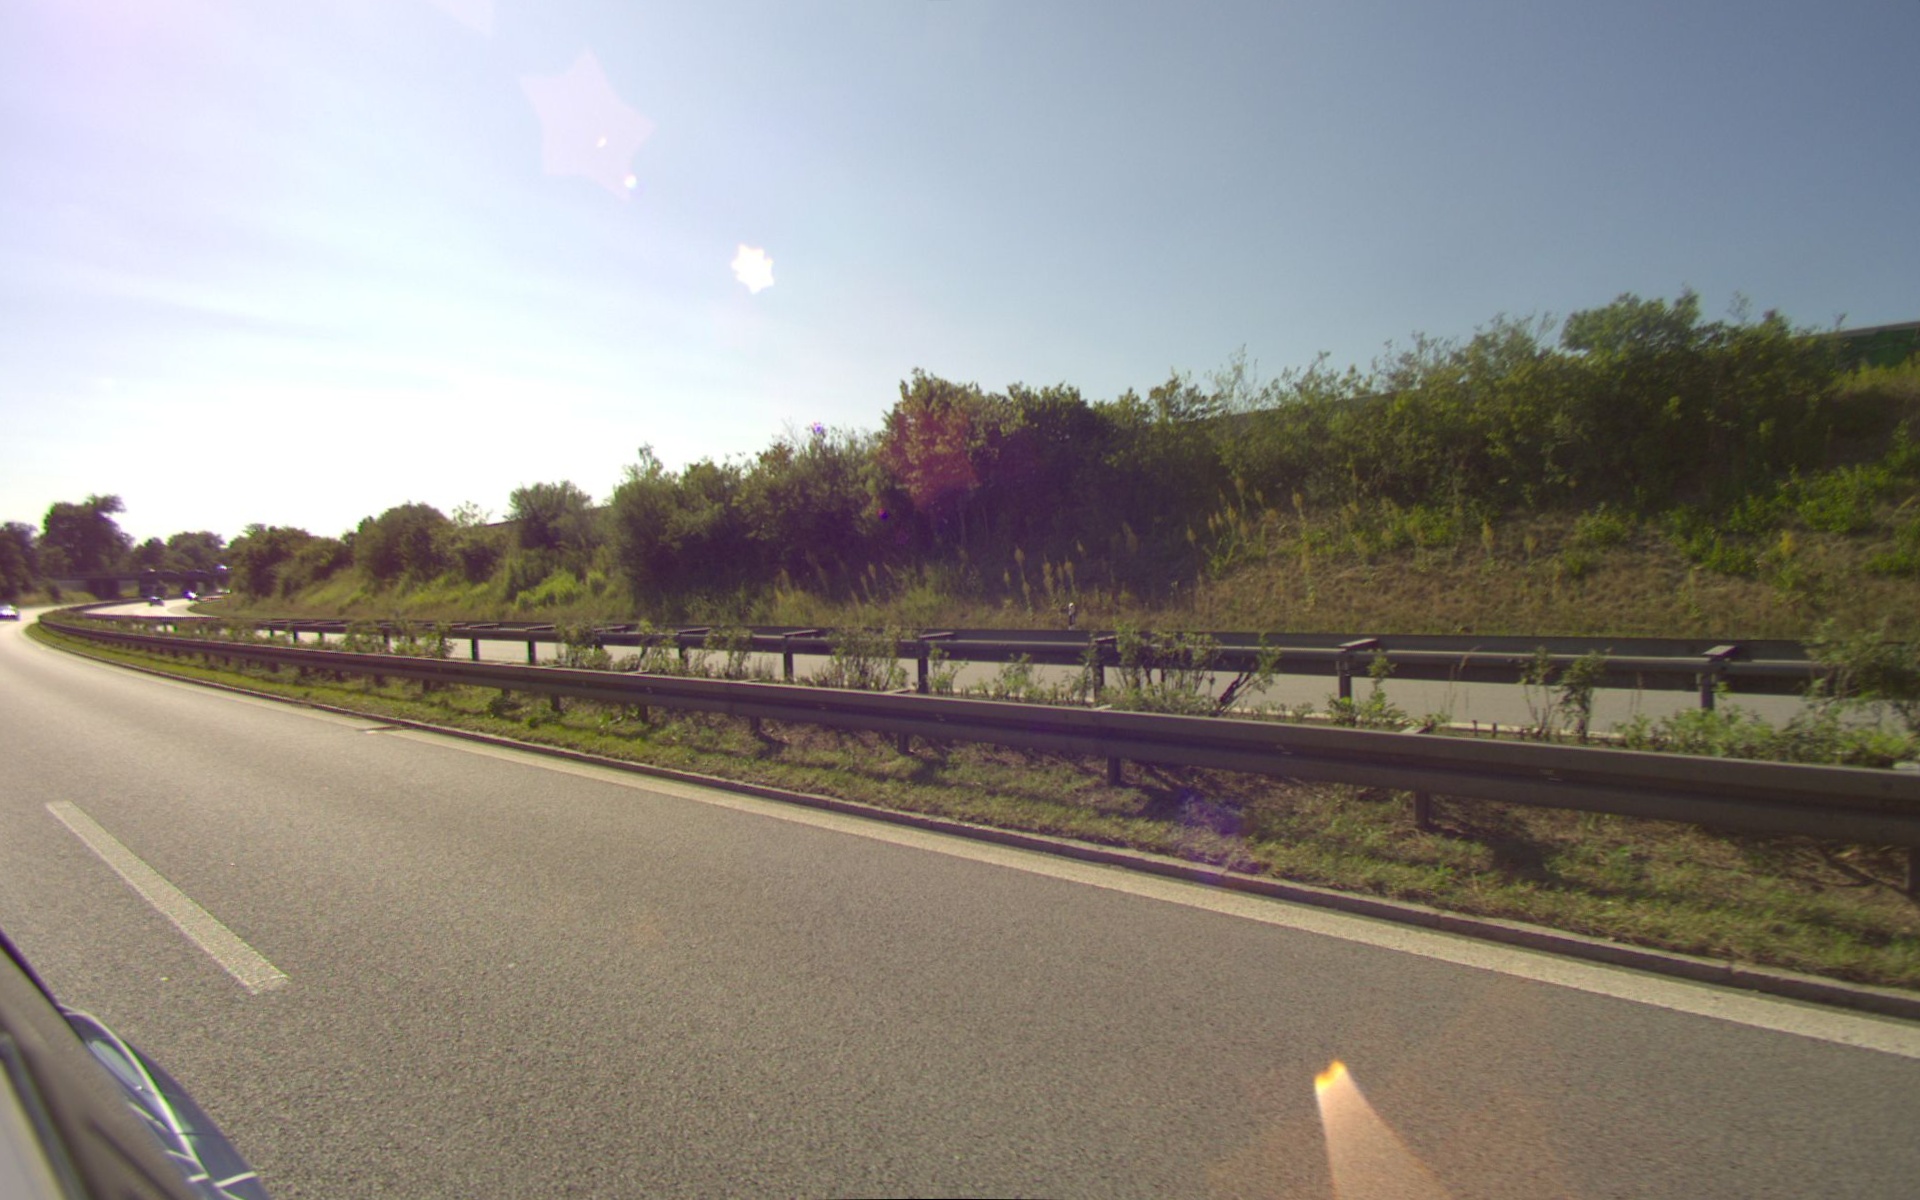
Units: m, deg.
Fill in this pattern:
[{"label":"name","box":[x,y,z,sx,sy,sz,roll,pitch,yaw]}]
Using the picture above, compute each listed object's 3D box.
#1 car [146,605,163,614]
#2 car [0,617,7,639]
[{"label":"car","box":[-133.043,1.510,167.119,1.877,1.433,4.402,0,-1,-43]},{"label":"car","box":[-95.983,2.819,100.435,1.970,2.028,4.604,-4,2,-43]}]
